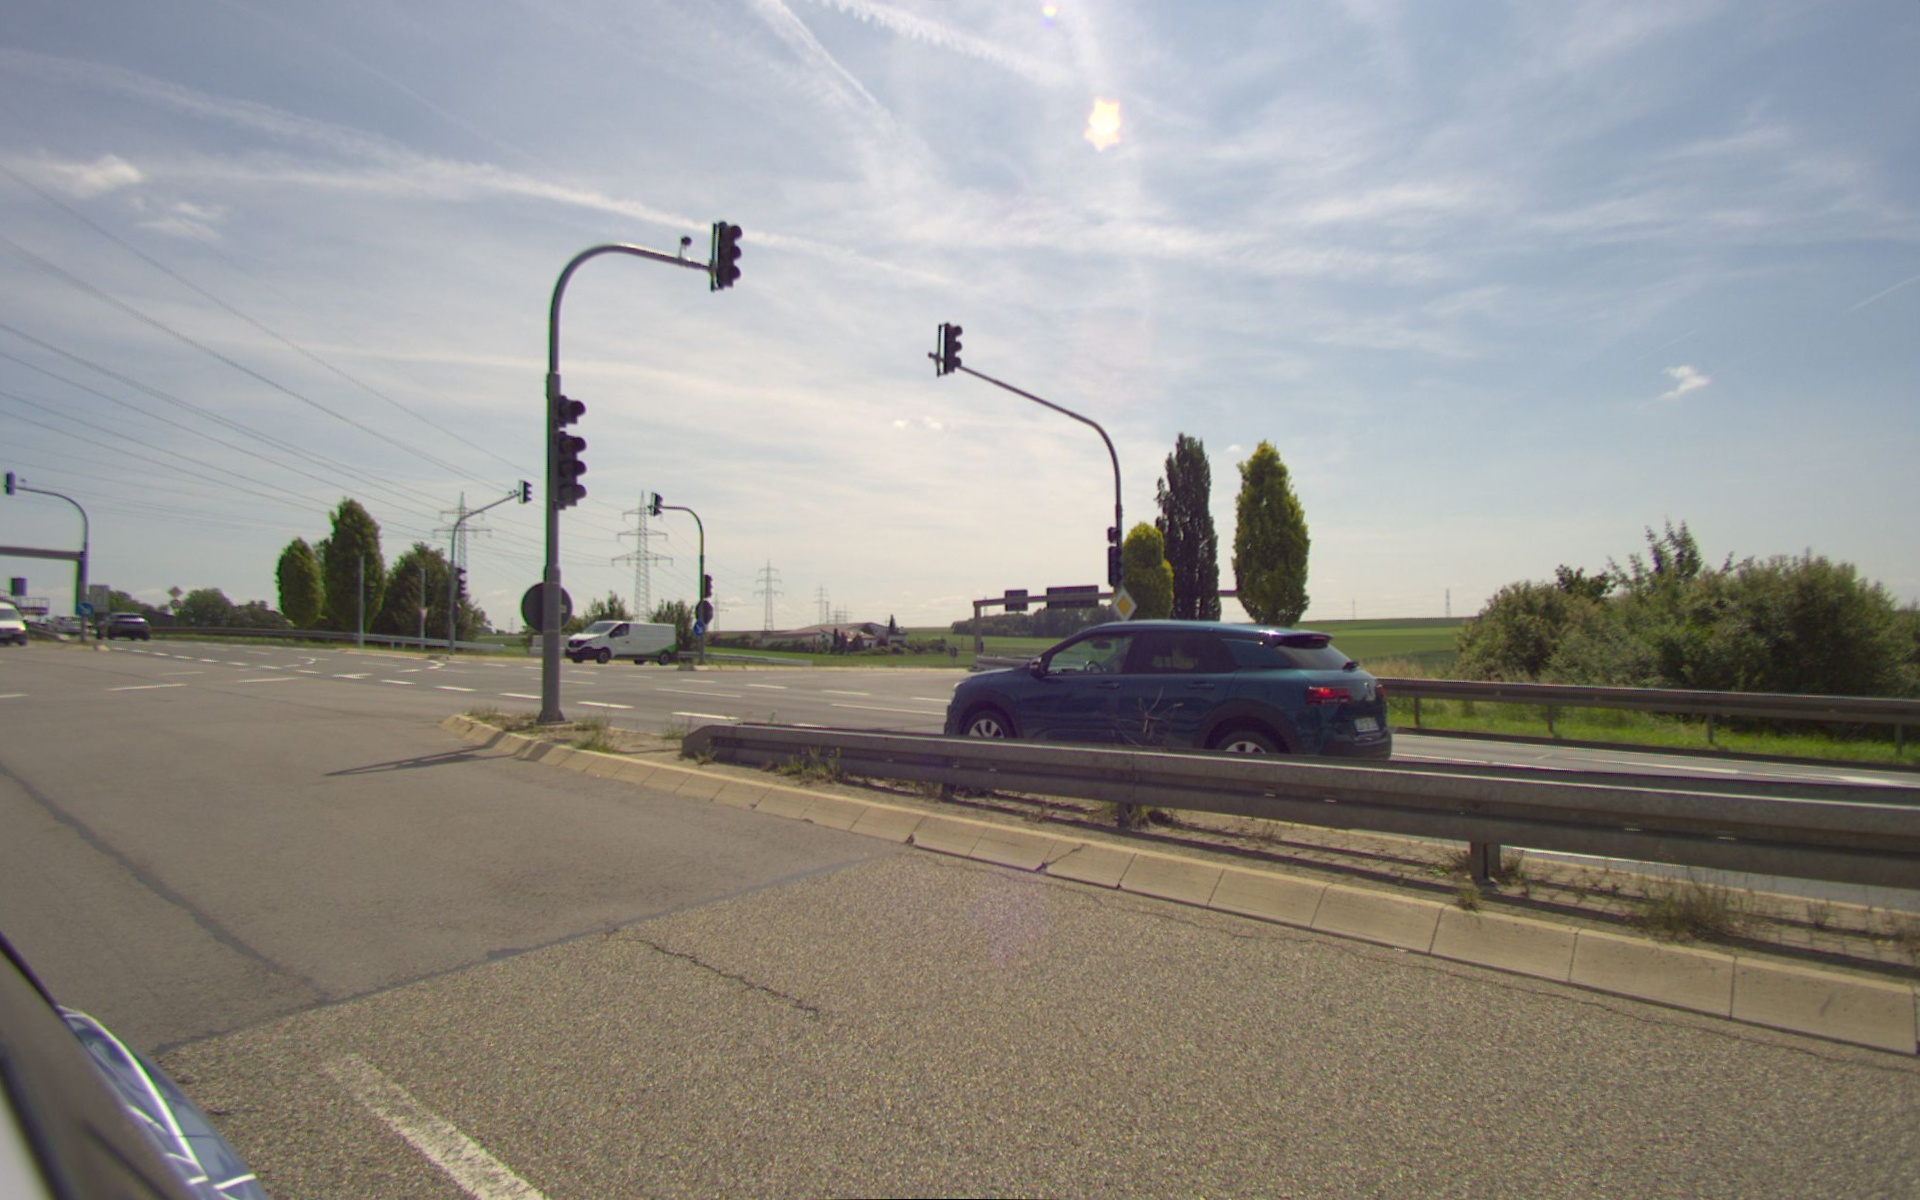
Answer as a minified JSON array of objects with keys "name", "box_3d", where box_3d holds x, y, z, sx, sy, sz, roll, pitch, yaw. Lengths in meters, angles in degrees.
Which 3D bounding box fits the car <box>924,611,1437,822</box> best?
[{"name":"car","box_3d":[1.819,0.864,9.114,4.192,1.480,1.737,-1,-2,40]}]

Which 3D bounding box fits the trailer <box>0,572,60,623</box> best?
[{"name":"trailer","box_3d":[-78.566,-0.239,83.519,19.768,3.792,2.614,1,-1,37]}]

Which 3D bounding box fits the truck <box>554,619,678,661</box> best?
[{"name":"truck","box_3d":[-15.407,1.847,45.687,1.993,1.770,5.227,0,-3,31]}]

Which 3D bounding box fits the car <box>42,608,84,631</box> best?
[{"name":"car","box_3d":[-63.021,1.358,71.055,3.798,1.508,1.627,1,-2,40]}]

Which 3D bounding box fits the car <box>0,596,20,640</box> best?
[{"name":"car","box_3d":[-41.155,0.733,42.598,4.748,1.812,1.750,0,0,40]}]

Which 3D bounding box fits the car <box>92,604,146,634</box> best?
[{"name":"car","box_3d":[-50.136,1.132,60.302,4.324,1.636,1.628,1,-3,40]}]
